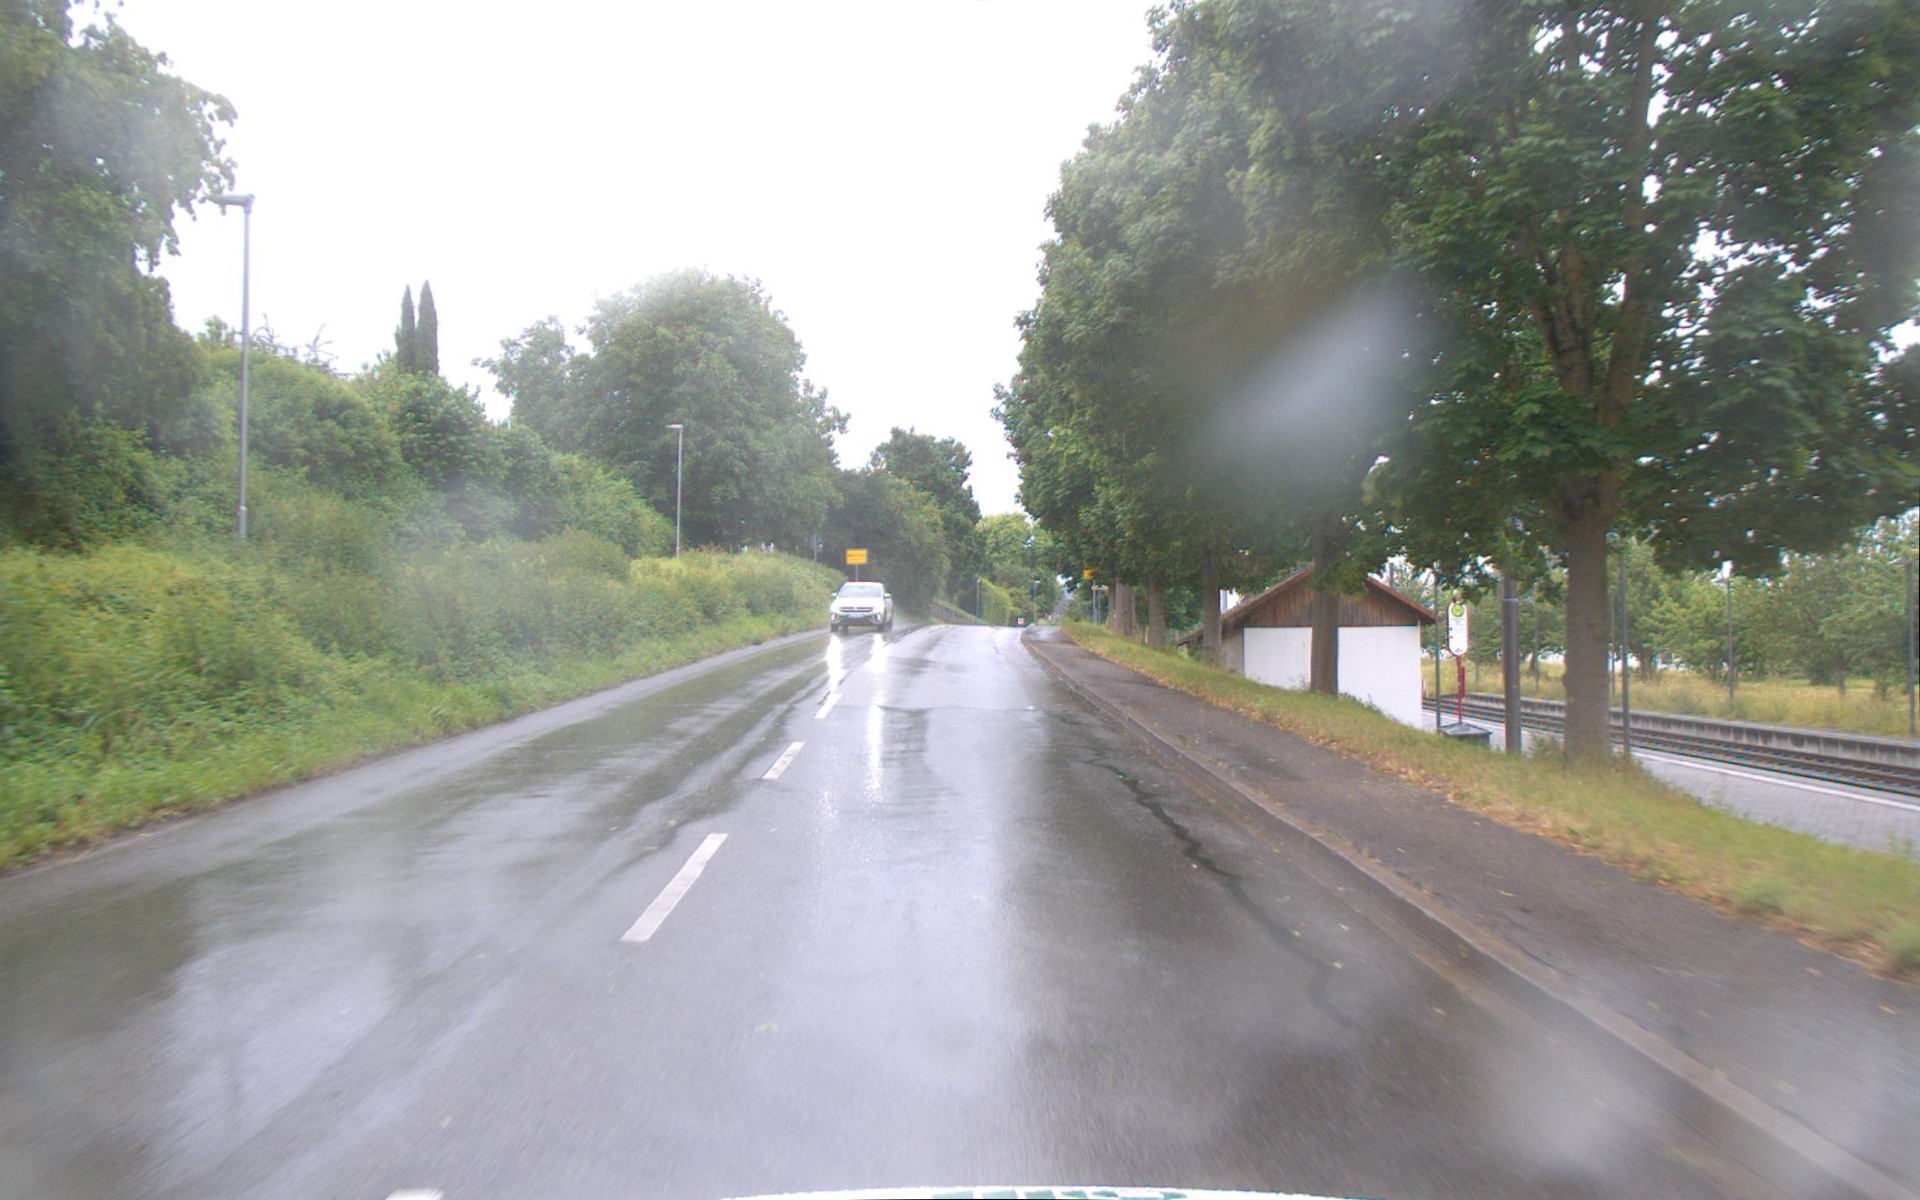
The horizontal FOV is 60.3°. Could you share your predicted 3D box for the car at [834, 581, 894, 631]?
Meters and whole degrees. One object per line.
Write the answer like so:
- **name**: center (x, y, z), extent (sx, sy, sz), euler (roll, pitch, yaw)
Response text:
- **car**: center (-3.127, 0.157, 54.532), extent (1.745, 1.531, 4.001), euler (0, 1, 0)
